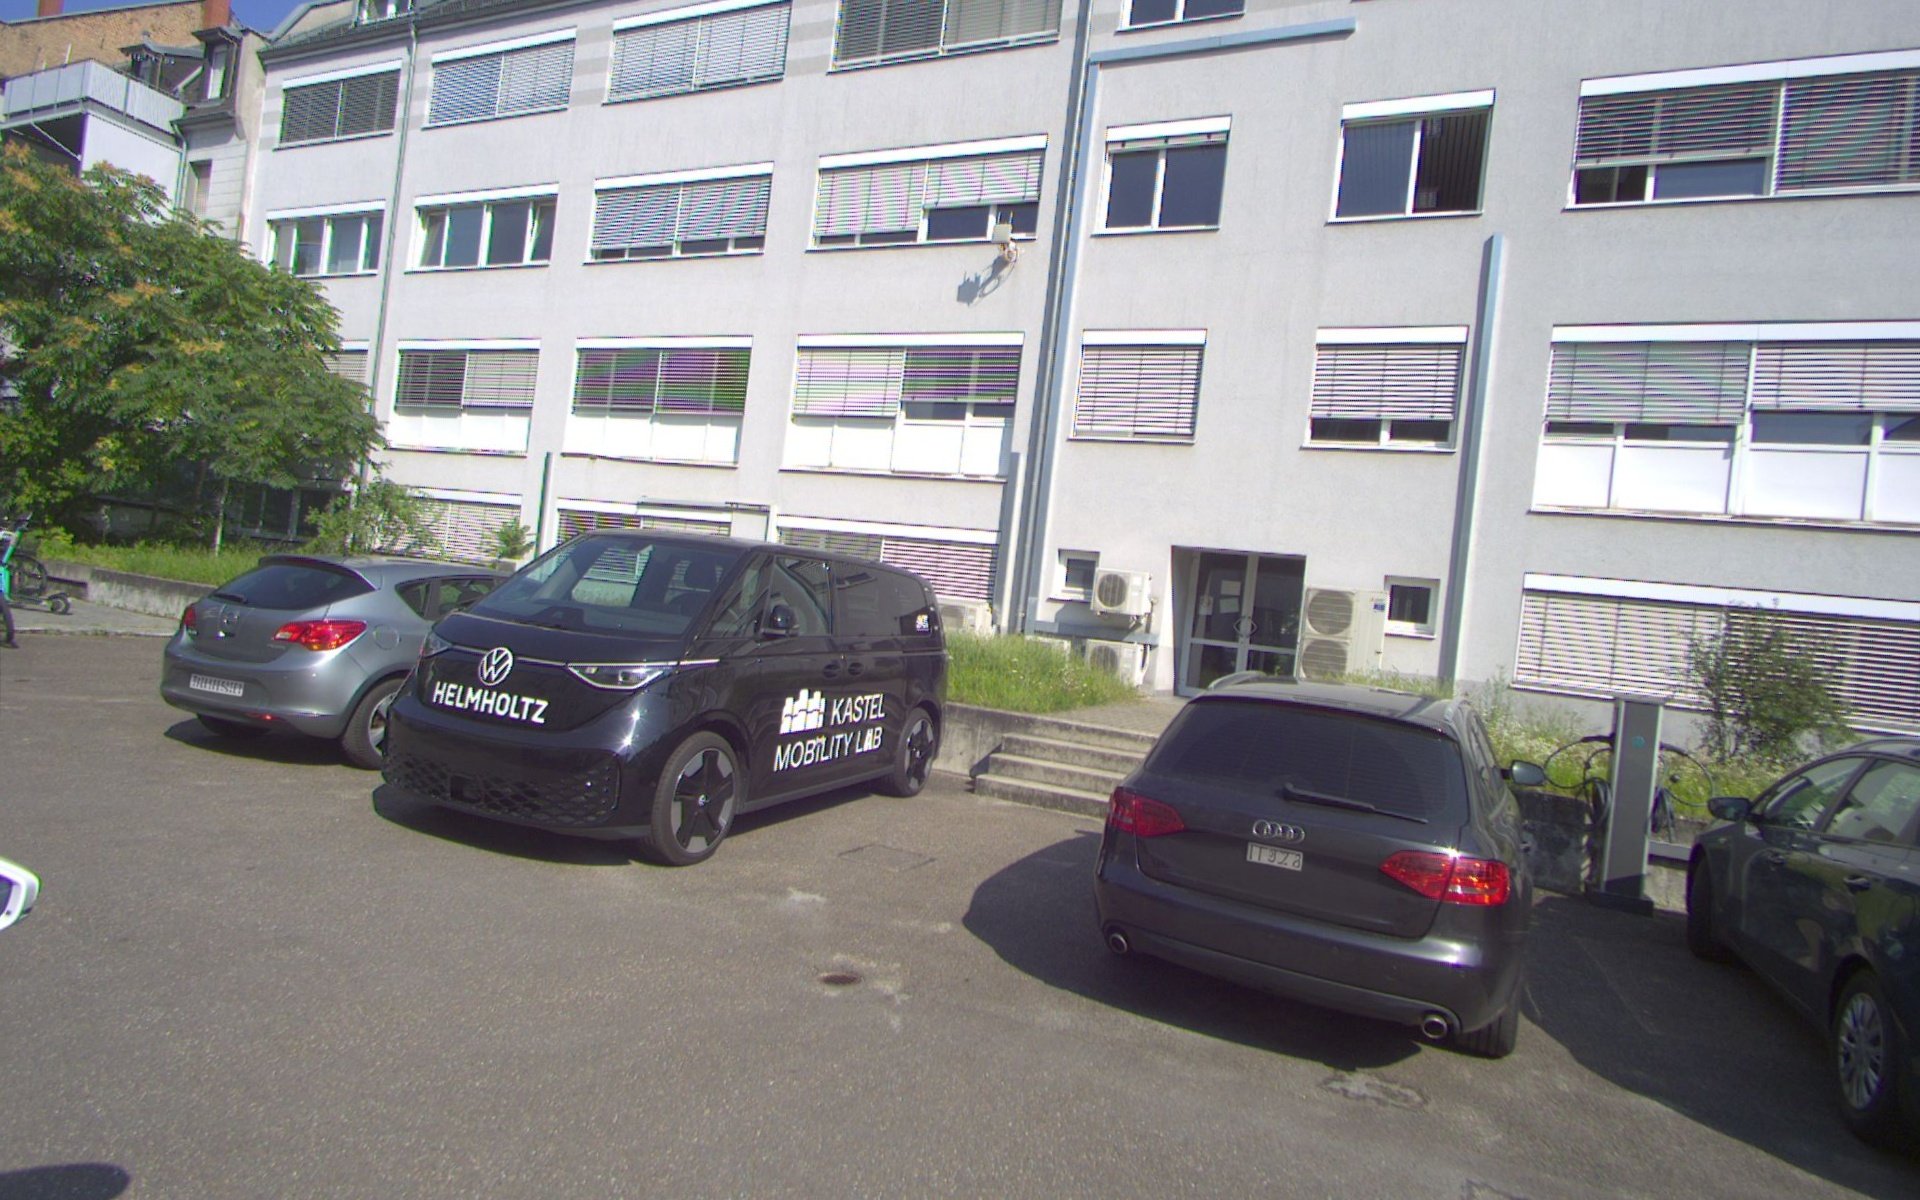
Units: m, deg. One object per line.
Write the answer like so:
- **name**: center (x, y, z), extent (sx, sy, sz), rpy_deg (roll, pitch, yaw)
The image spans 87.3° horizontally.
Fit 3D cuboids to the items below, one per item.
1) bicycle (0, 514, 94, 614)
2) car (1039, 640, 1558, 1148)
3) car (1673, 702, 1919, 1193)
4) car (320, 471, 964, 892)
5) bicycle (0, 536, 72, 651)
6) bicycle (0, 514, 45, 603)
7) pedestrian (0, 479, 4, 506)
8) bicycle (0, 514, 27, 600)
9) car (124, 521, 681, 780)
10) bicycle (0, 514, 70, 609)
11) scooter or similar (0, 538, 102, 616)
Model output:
- **bicycle**: center (-13.318, -0.572, 13.511), extent (0.517, 1.260, 2.416), rpy_deg (7, -2, 30)
- **car**: center (2.127, 1.131, 5.515), extent (1.661, 1.454, 4.242), rpy_deg (7, -1, 29)
- **car**: center (4.627, 1.351, 4.346), extent (1.711, 1.495, 4.057), rpy_deg (7, -1, 26)
- **car**: center (-1.713, 0.478, 7.116), extent (1.879, 1.881, 4.350), rpy_deg (7, -1, 21)
- **bicycle**: center (-10.887, -0.150, 11.032), extent (1.956, 1.158, 0.490), rpy_deg (7, 1, 8)
- **bicycle**: center (-14.596, -0.722, 14.141), extent (0.517, 1.260, 2.416), rpy_deg (7, -2, 30)
- **pedestrian**: center (-11.127, -0.519, 10.821), extent (0.599, 1.792, 0.862), rpy_deg (7, -1, 11)
- **bicycle**: center (-15.131, -0.771, 14.424), extent (0.517, 1.260, 2.416), rpy_deg (7, -2, 30)
- **car**: center (-4.211, 0.405, 8.406), extent (1.631, 1.483, 3.911), rpy_deg (7, -1, 17)
- **bicycle**: center (-13.902, -0.639, 13.784), extent (0.517, 1.260, 2.416), rpy_deg (7, -2, 30)
- **scooter or similar**: center (-12.587, -0.311, 13.901), extent (0.982, 0.935, 0.360), rpy_deg (8, -1, -7)
